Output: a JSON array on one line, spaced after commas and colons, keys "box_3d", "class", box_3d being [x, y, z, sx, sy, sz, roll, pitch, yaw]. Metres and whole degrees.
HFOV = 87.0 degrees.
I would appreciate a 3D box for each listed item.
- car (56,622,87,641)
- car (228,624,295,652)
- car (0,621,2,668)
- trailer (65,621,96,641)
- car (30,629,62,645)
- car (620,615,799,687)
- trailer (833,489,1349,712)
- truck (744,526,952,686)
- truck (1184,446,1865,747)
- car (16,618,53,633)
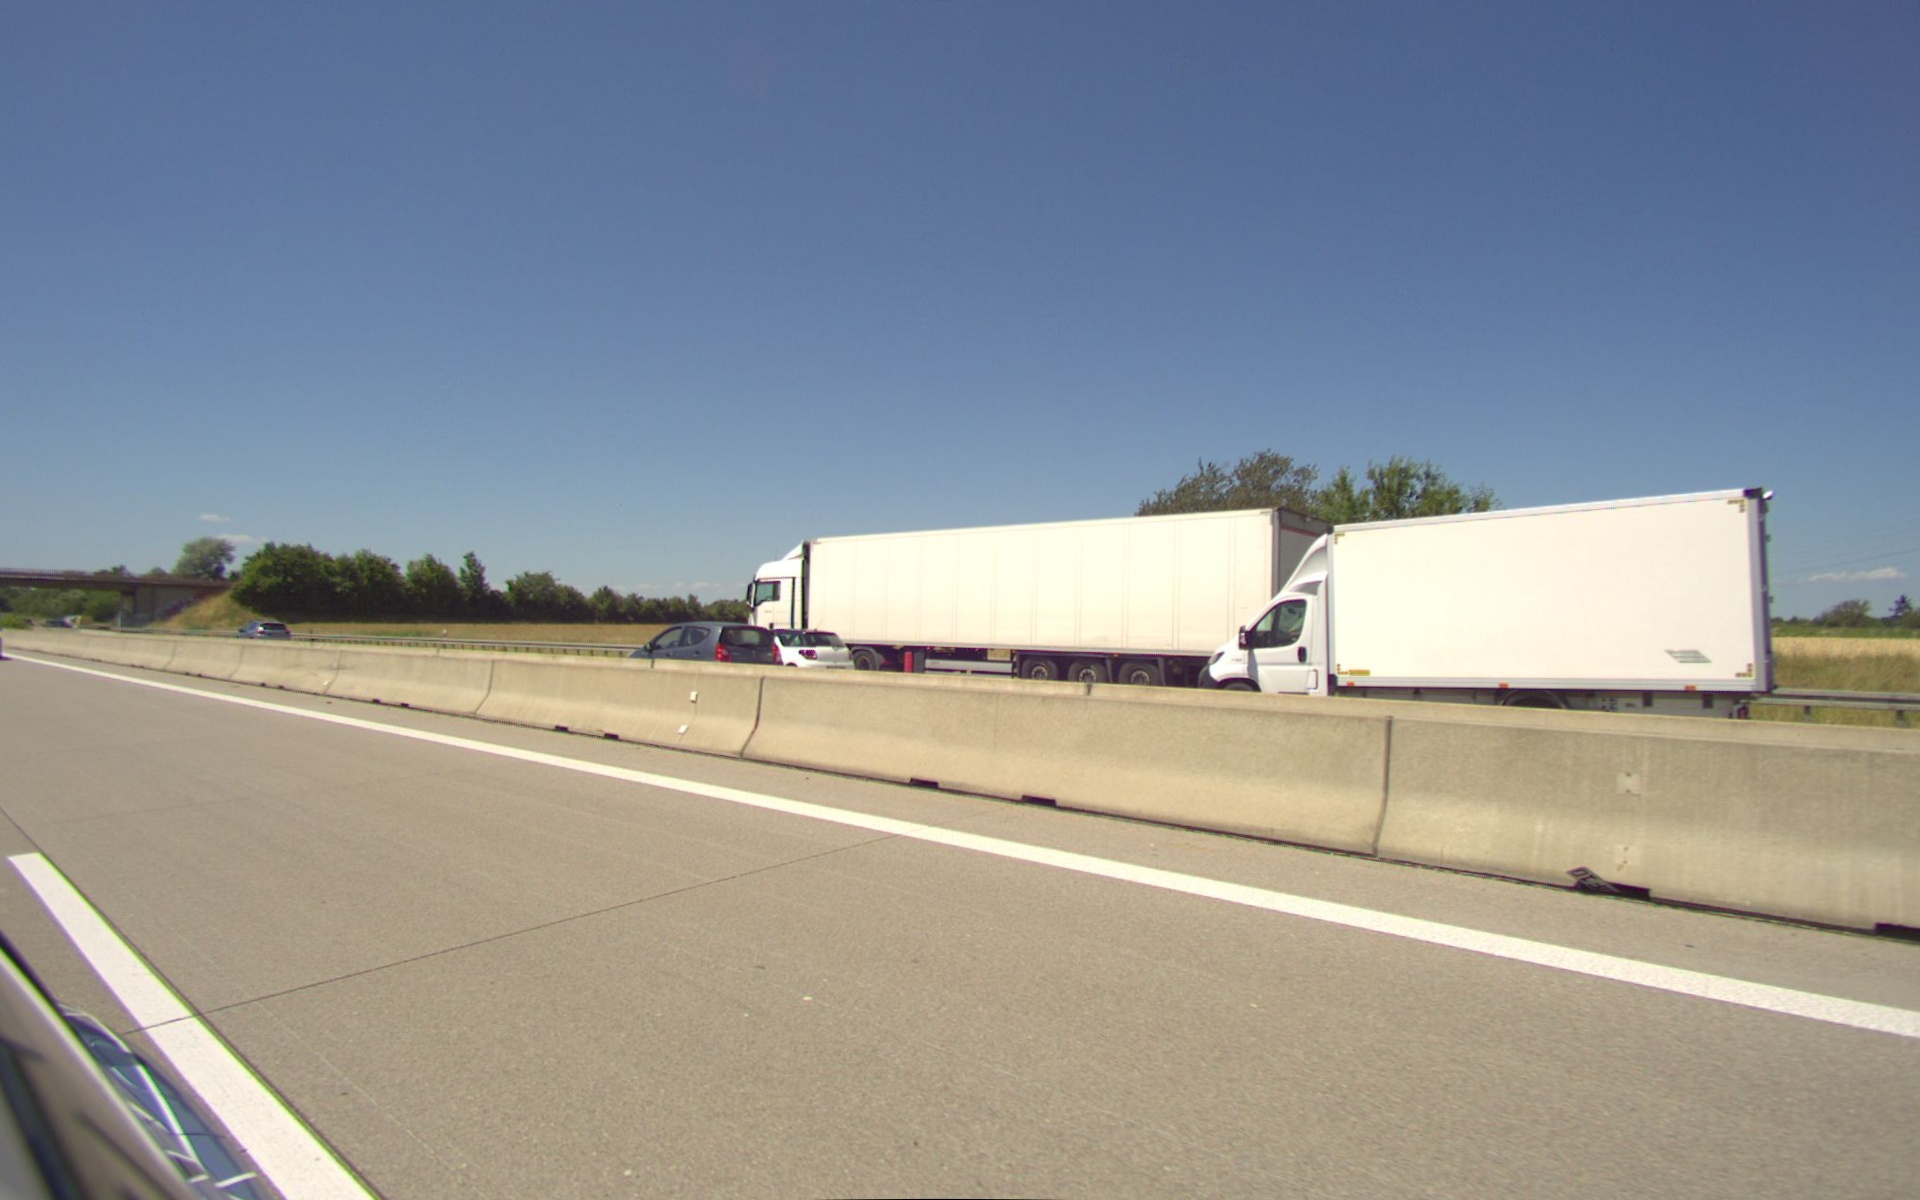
[{"box_3d": [-98.671, 3.461, 112.339, 5.563, 1.959, 1.846, -1, 0, 41], "class": "car"}, {"box_3d": [-36.556, 1.955, 52.926, 4.903, 1.383, 1.717, -1, 0, 41], "class": "car"}, {"box_3d": [-33.685, 1.443, 33.624, 6.342, 1.482, 1.973, -1, -3, 40], "class": "car"}, {"box_3d": [-94.414, 3.346, 108.641, 5.611, 2.058, 1.791, -1, 0, 41], "class": "trailer"}, {"box_3d": [-88.242, 3.548, 97.706, 5.040, 1.370, 1.695, -1, 0, 41], "class": "car"}, {"box_3d": [-4.661, 0.898, 18.622, 3.373, 1.172, 1.527, -1, 0, 41], "class": "car"}, {"box_3d": [2.283, 0.080, 23.843, 12.673, 4.075, 2.790, -1, 0, 42], "class": "trailer"}, {"box_3d": [-3.289, 0.178, 28.831, 5.676, 4.075, 2.789, -1, 0, 42], "class": "truck"}, {"box_3d": [7.319, 0.019, 14.212, 7.918, 3.166, 2.521, -1, -1, 41], "class": "truck"}, {"box_3d": [-78.354, 2.159, 85.670, 4.674, 1.249, 1.753, -1, 0, 41], "class": "car"}]
